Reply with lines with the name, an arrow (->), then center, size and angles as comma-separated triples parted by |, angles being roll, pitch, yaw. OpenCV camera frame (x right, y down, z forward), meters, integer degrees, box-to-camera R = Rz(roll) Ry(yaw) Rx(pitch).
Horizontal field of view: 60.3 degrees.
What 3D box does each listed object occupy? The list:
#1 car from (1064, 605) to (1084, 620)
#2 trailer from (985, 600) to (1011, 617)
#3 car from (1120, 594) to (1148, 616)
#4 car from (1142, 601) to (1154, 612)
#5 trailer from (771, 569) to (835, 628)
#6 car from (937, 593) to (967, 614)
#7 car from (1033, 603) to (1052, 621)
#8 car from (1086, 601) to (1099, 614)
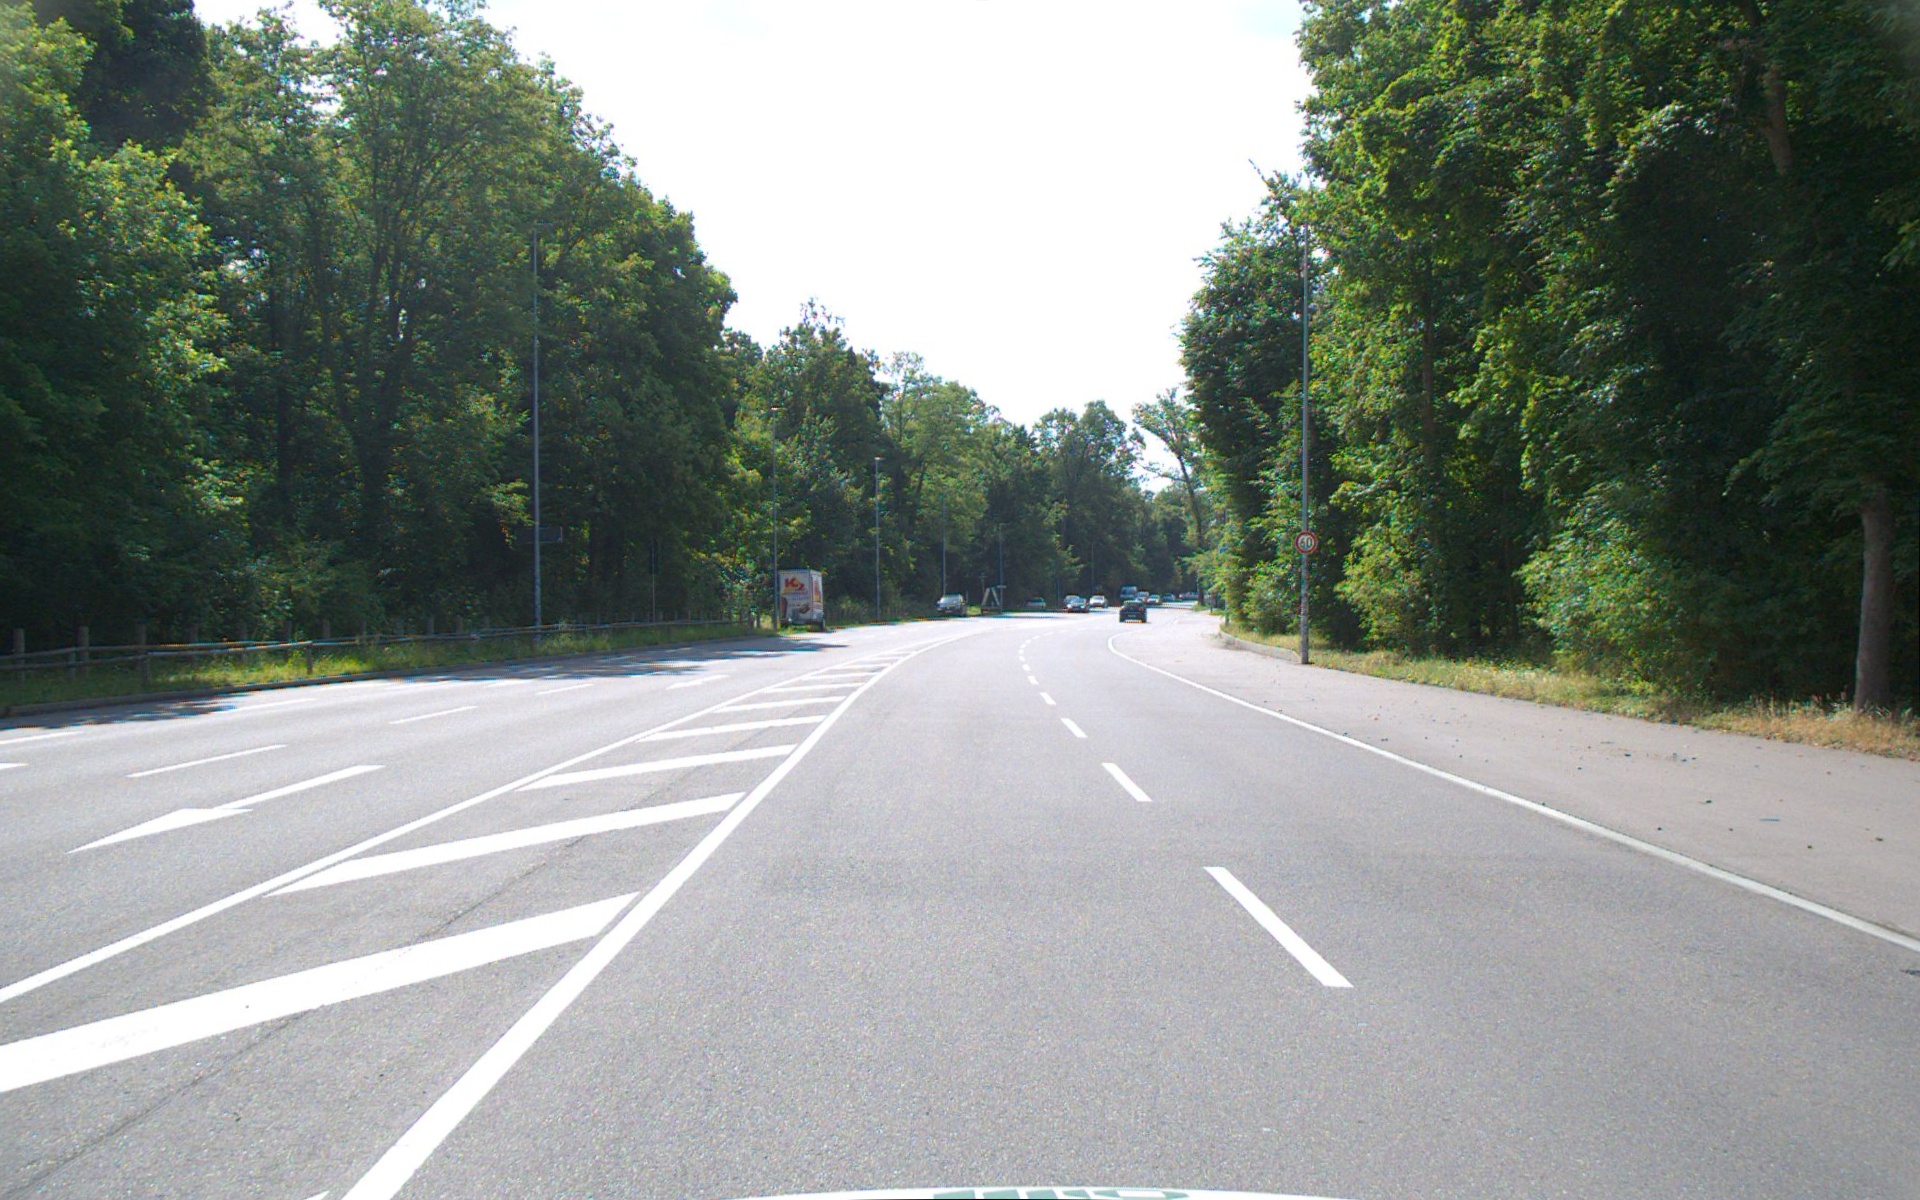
car -> 10.884, 1.190, 157.989 | 1.471, 1.472, 3.532 | 0, 0, 11
trailer -> 3.227, 0.710, 141.309 | 1.680, 1.378, 3.735 | 0, 0, 10
car -> 11.782, 0.338, 112.070 | 1.563, 1.402, 3.979 | 0, 0, 10
car -> 26.191, 0.874, 230.303 | 1.471, 1.472, 3.532 | 0, 0, 9
trailer -> -6.648, -0.048, 70.280 | 1.951, 2.430, 4.002 | 0, 0, 5
car -> -0.590, 0.246, 118.880 | 1.471, 1.472, 3.532 | 0, 0, 11
car -> 8.451, 1.217, 169.289 | 1.882, 1.887, 4.002 | 0, 0, 3
car -> 15.679, 0.867, 196.135 | 1.472, 1.472, 3.531 | 0, 0, 4
